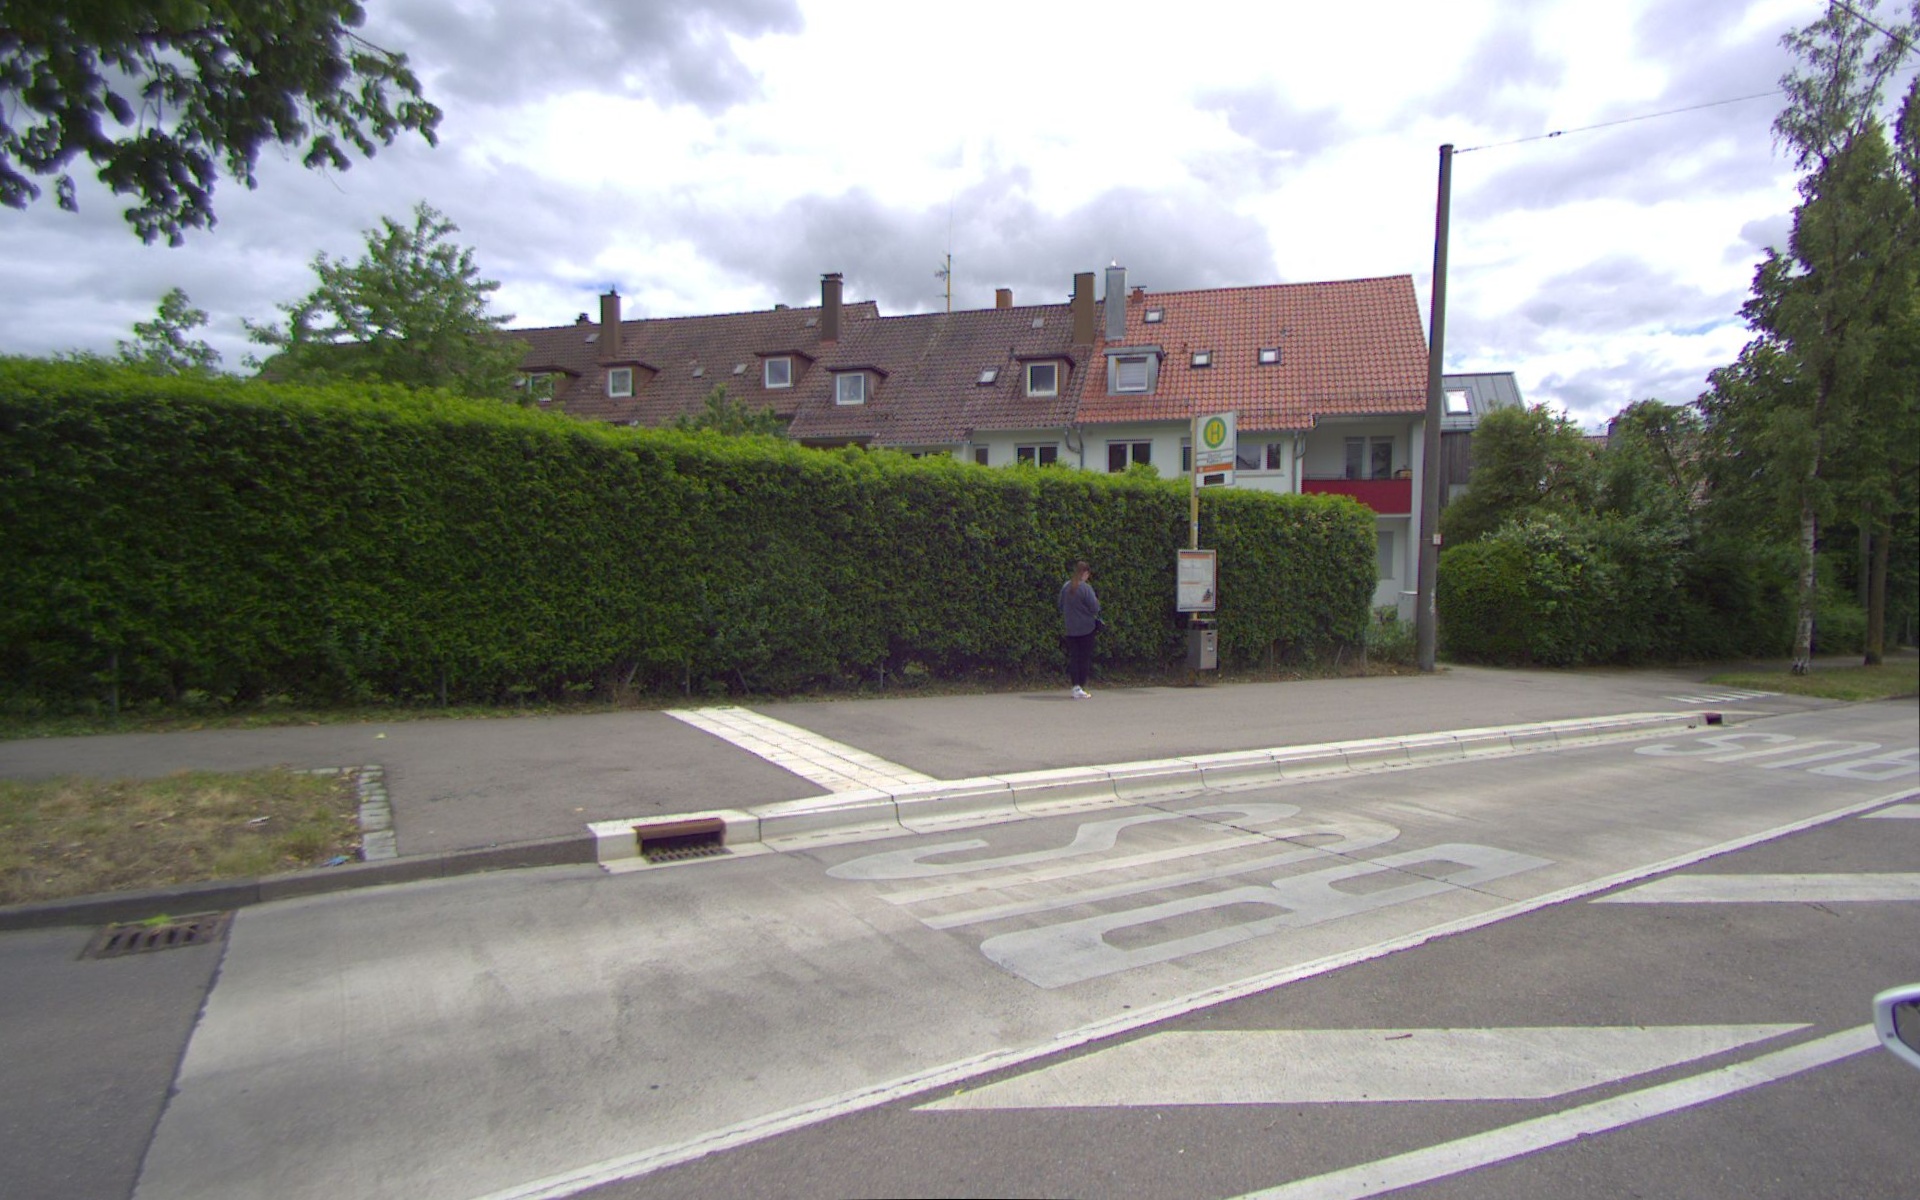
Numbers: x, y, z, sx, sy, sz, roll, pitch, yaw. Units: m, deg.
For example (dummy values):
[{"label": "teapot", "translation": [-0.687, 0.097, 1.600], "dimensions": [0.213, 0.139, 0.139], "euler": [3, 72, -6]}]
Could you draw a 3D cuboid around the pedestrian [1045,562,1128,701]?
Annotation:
[{"label": "pedestrian", "translation": [1.631, 0.389, 12.951], "dimensions": [0.771, 1.733, 0.686], "euler": [1, 1, -39]}]
